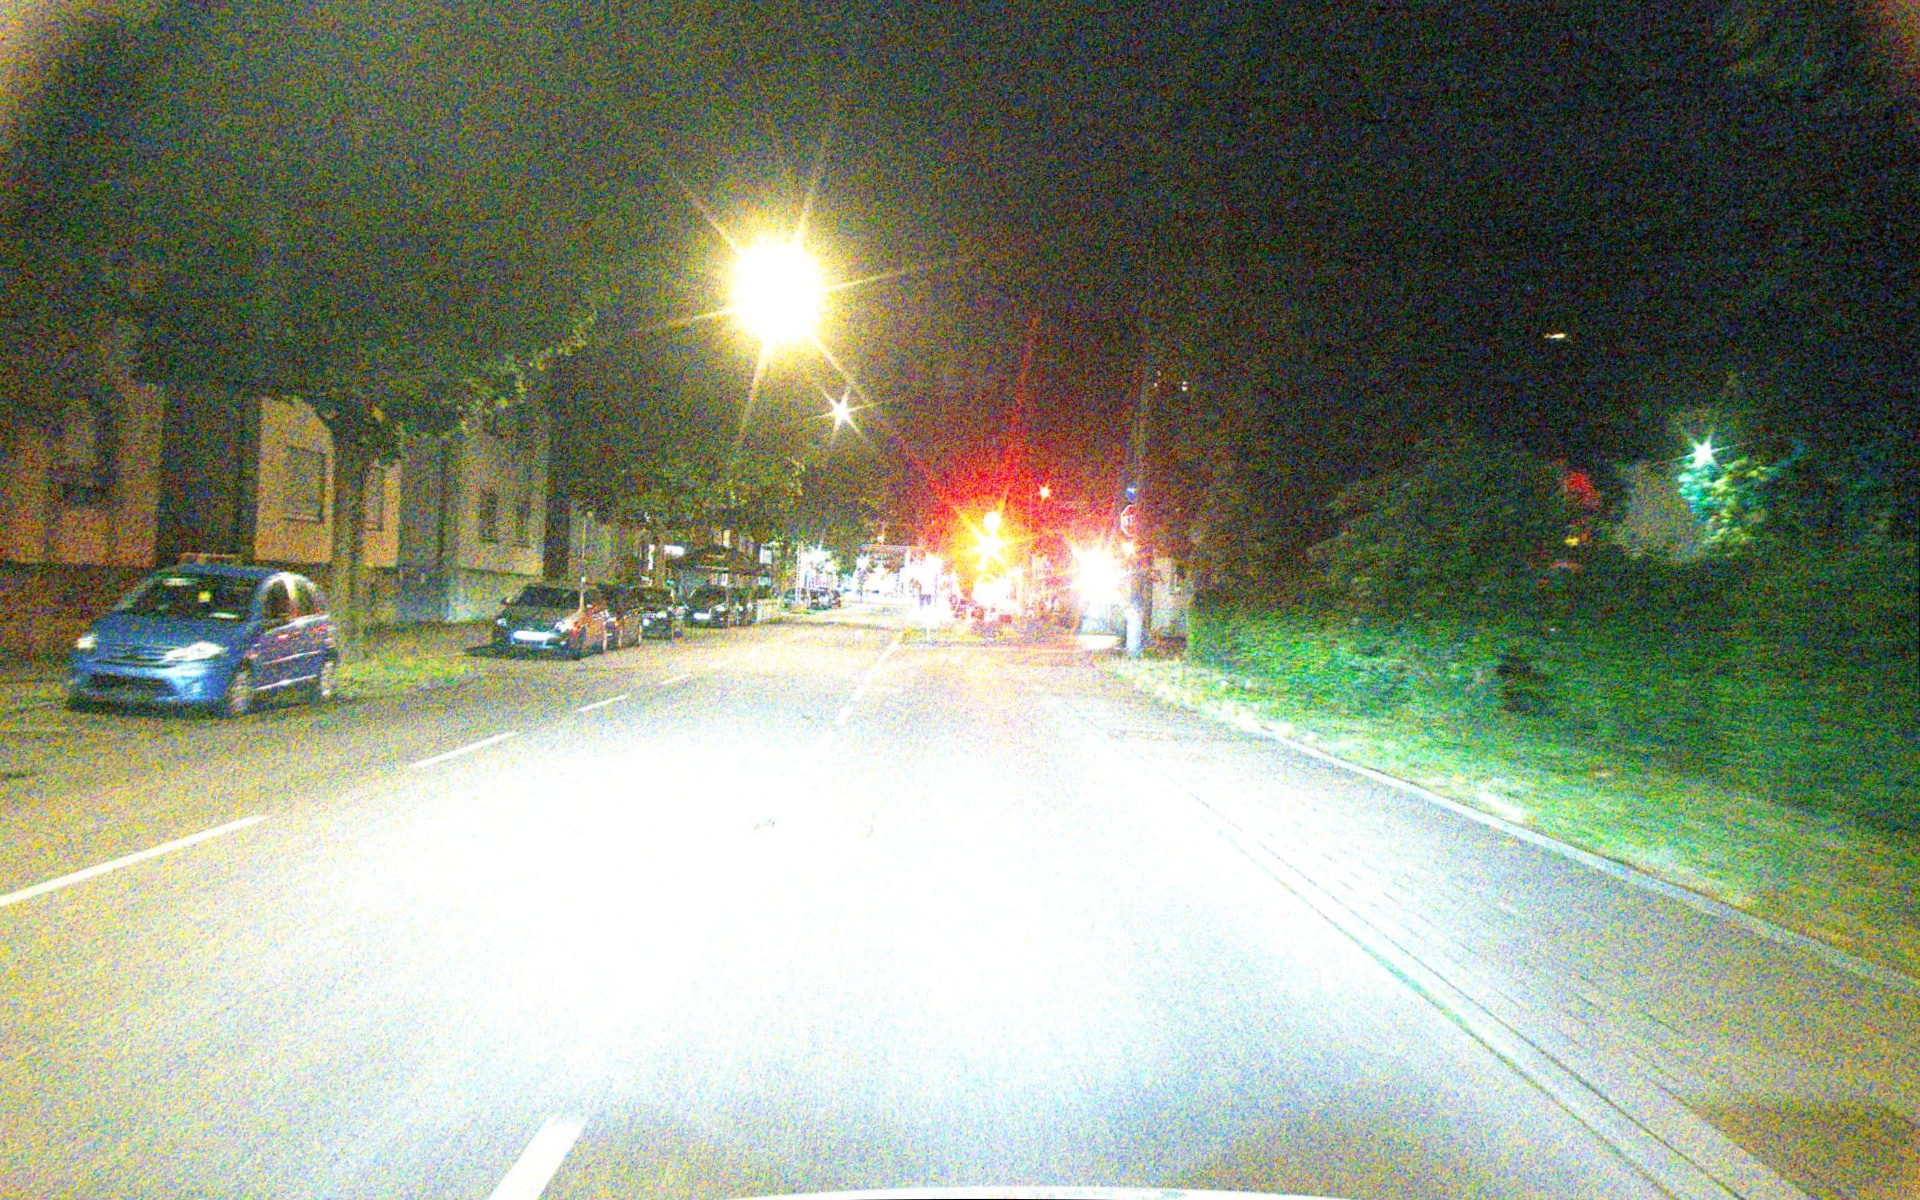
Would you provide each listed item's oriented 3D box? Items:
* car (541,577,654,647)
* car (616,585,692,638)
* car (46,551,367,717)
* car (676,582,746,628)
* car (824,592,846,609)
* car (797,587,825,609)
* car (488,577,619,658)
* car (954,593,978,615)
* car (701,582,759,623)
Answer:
[{"bbox_3d":[-8.539,0.280,39.322,1.732,1.512,4.861,2,0,-2],"label":"car"},{"bbox_3d":[-8.766,0.316,47.657,1.590,1.407,4.448,2,0,-4],"label":"car"},{"bbox_3d":[-8.010,0.330,18.017,1.679,1.520,3.988,3,0,-2],"label":"car"},{"bbox_3d":[-9.117,0.149,60.811,1.861,1.497,4.451,4,0,-1],"label":"car"},{"bbox_3d":[-10.823,0.057,143.094,1.618,1.456,3.999,2,0,-1],"label":"car"},{"bbox_3d":[-10.483,-0.155,116.468,1.618,1.456,3.999,2,0,-1],"label":"car"},{"bbox_3d":[-8.330,0.349,34.285,1.733,1.512,4.765,2,0,-3],"label":"car"},{"bbox_3d":[0.416,0.294,119.242,1.617,1.456,4.000,2,0,0],"label":"car"},{"bbox_3d":[-9.107,0.113,65.807,1.767,1.507,4.321,2,0,-2],"label":"car"}]
